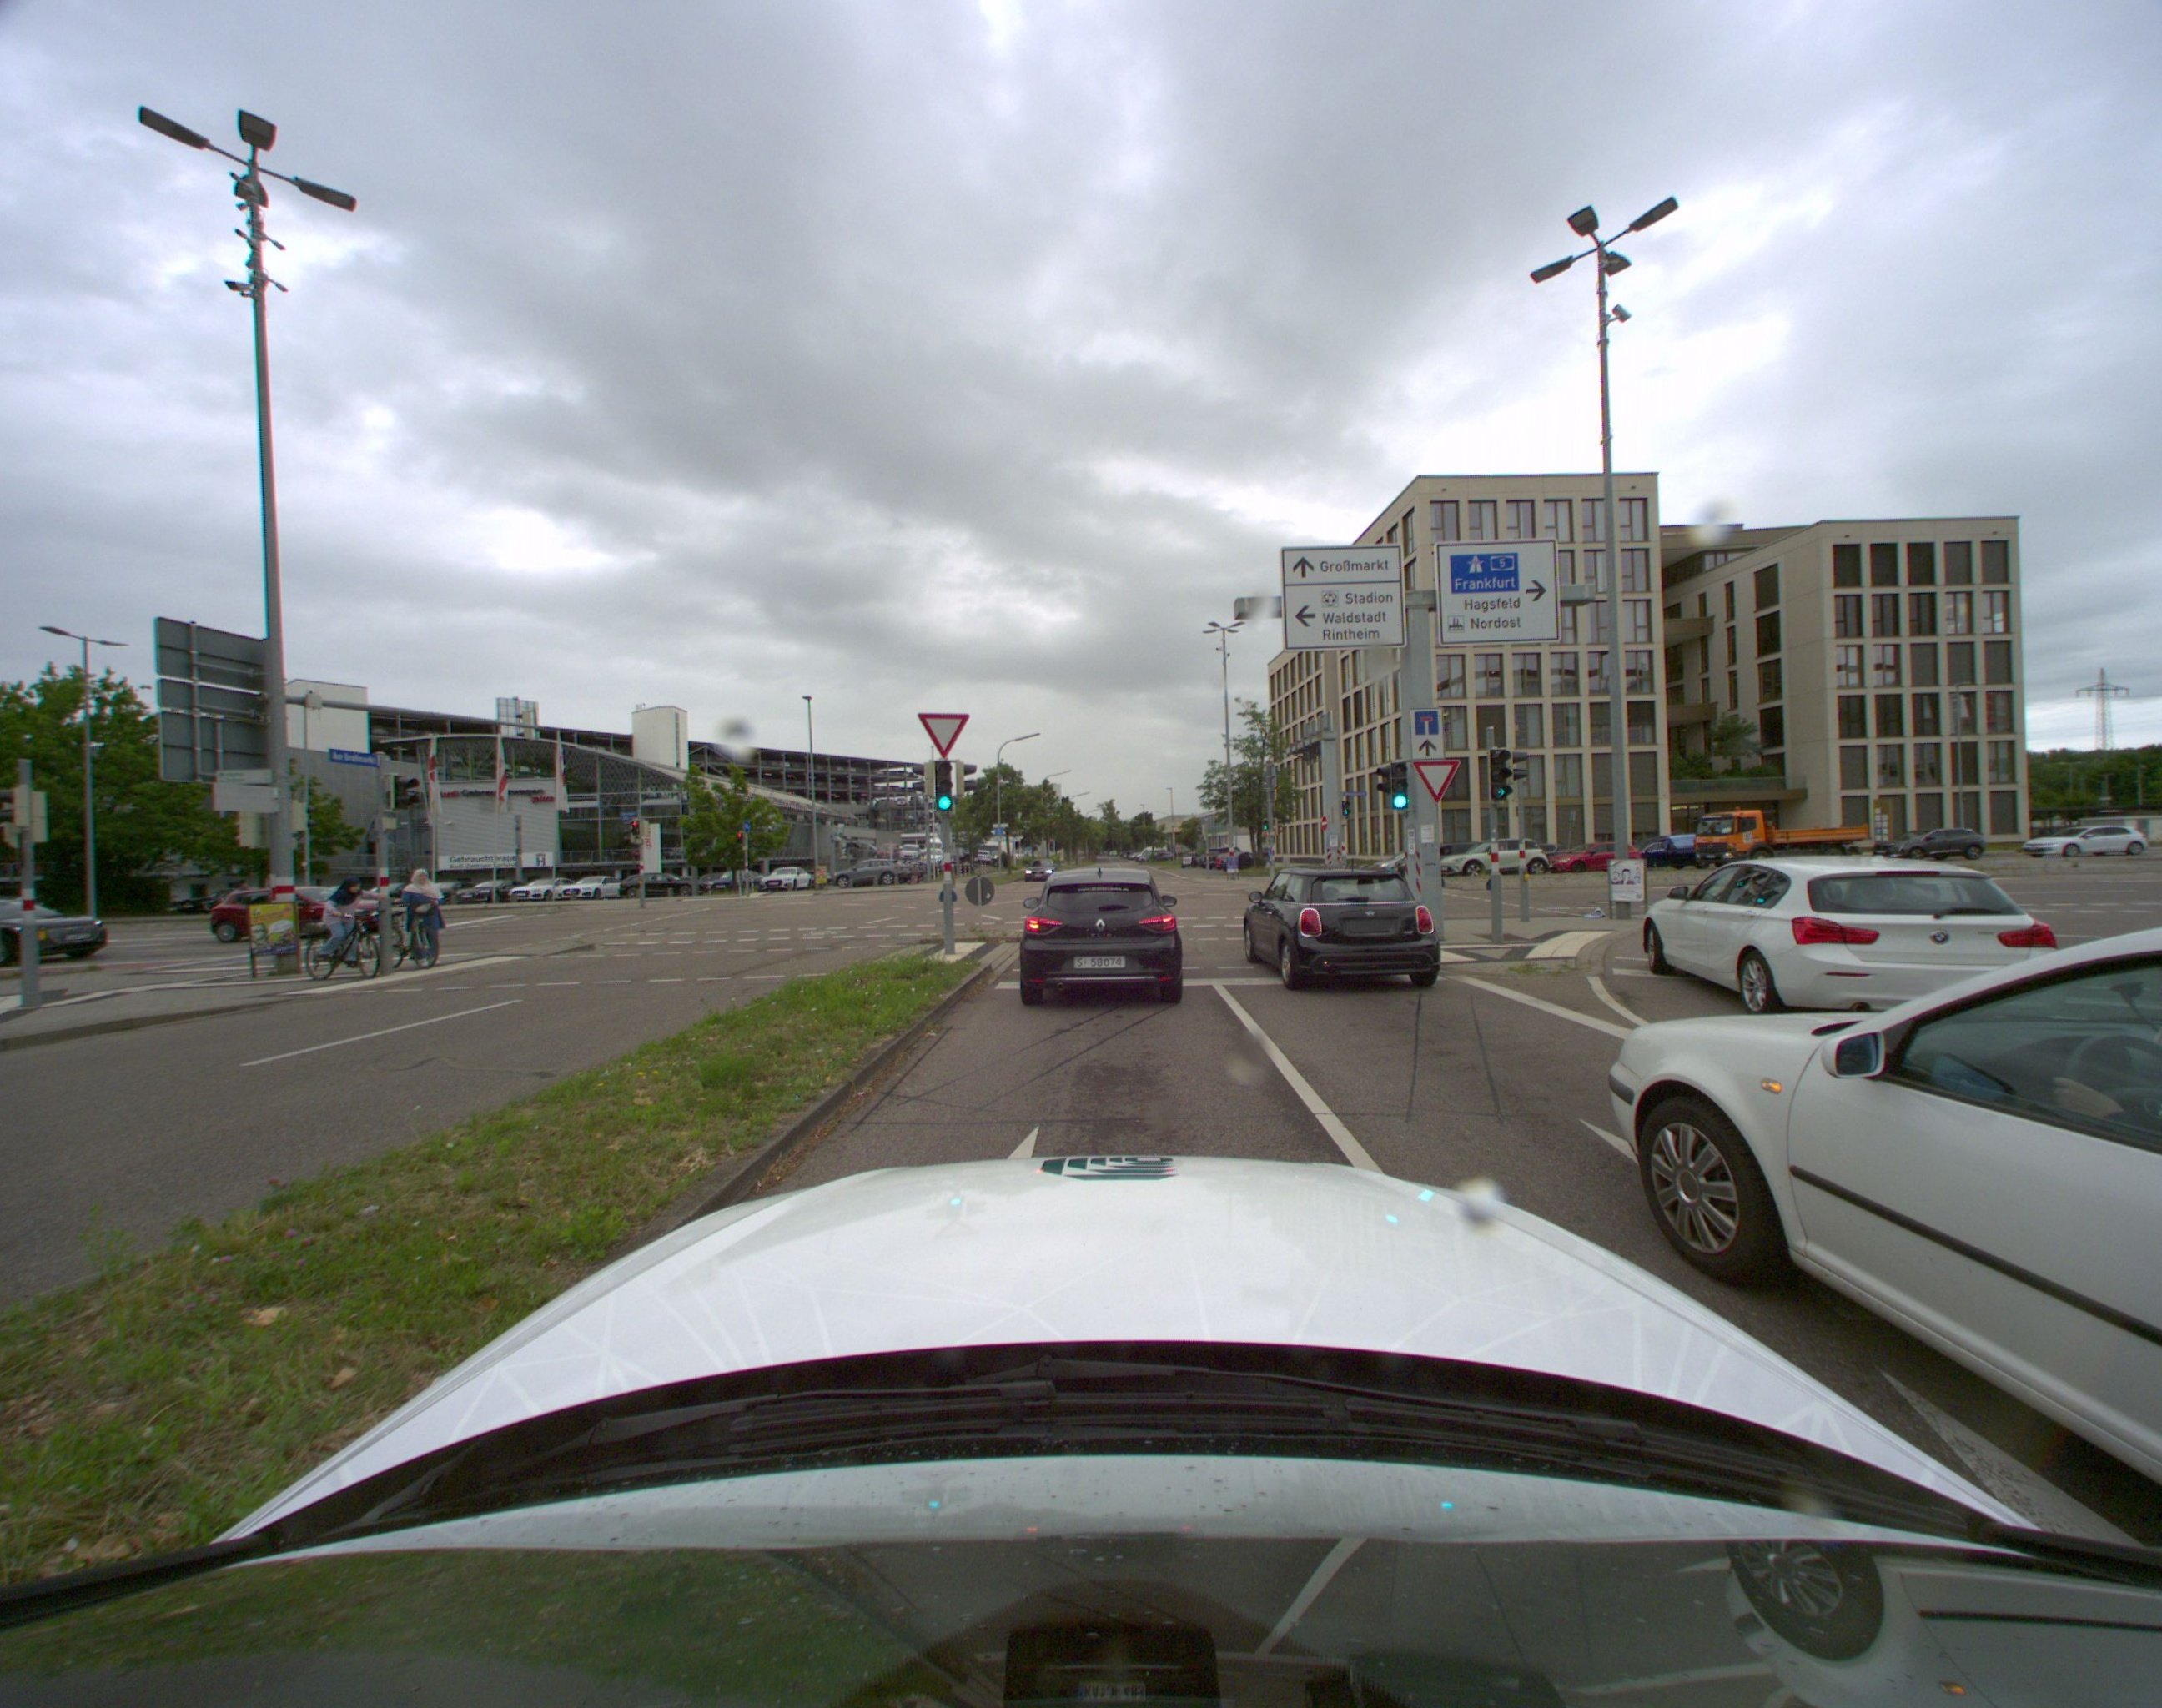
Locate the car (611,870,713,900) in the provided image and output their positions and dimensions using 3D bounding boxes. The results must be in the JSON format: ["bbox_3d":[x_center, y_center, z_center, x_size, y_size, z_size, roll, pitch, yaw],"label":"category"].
[{"bbox_3d":[-23.657,1.754,46.055,4.726,1.486,1.891,-2,-3,-2],"label":"car"}]

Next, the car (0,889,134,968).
[{"bbox_3d":[-26.656,1.870,19.955,4.311,1.636,1.884,-3,3,-4],"label":"car"}]

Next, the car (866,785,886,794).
[{"bbox_3d":[-43.562,-13.722,172.788,3.948,1.667,2.013,-1,0,34],"label":"car"}]

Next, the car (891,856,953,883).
[{"bbox_3d":[-13.613,1.309,69.856,4.882,2.013,1.998,-4,-1,-3],"label":"car"}]

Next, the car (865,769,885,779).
[{"bbox_3d":[-43.888,-17.049,173.182,3.948,1.667,2.013,-1,0,34],"label":"car"}]

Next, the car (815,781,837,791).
[{"bbox_3d":[-50.651,-13.504,161.820,3.948,1.667,2.013,-1,0,34],"label":"car"}]

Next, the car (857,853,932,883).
[{"bbox_3d":[-13.476,1.008,58.988,4.938,1.876,2.050,-4,-1,-5],"label":"car"}]

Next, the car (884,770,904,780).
[{"bbox_3d":[-40.797,-17.156,177.421,3.948,1.667,2.013,-1,0,34],"label":"car"}]

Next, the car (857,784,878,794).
[{"bbox_3d":[-44.772,-13.663,170.856,3.948,1.667,2.013,-1,0,34],"label":"car"}]

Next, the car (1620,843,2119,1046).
[{"bbox_3d":[7.016,0.669,7.968,1.814,1.410,4.216,-1,-1,18],"label":"car"}]

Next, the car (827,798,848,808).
[{"bbox_3d":[-49.074,-10.243,164.204,3.948,1.667,2.013,-1,0,34],"label":"car"}]

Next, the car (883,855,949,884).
[{"bbox_3d":[-13.500,1.257,66.857,4.882,2.013,1.998,-4,-1,-3],"label":"car"}]

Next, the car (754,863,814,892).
[{"bbox_3d":[-16.805,1.345,46.259,1.863,1.486,4.227,-3,-2,-1],"label":"car"}]

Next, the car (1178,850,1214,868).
[{"bbox_3d":[11.732,0.540,83.127,3.451,1.732,1.745,0,-1,-40],"label":"car"}]

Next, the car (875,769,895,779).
[{"bbox_3d":[-42.279,-17.185,175.350,3.948,1.667,2.013,-1,0,34],"label":"car"}]

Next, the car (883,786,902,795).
[{"bbox_3d":[-41.015,-13.885,177.207,3.948,1.667,2.013,-1,0,34],"label":"car"}]

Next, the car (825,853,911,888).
[{"bbox_3d":[-13.214,1.023,50.768,4.761,1.863,1.998,-4,-1,-3],"label":"car"}]

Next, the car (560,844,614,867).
[{"bbox_3d":[-37.614,0.144,62.086,1.815,1.662,3.995,0,-1,-3],"label":"car"}]

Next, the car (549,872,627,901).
[{"bbox_3d":[-27.454,1.832,45.520,1.841,1.486,4.196,-2,-3,-1],"label":"car"}]

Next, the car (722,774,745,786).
[{"bbox_3d":[-61.753,-13.169,144.706,3.948,1.667,2.013,-1,0,34],"label":"car"}]

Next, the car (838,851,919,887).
[{"bbox_3d":[-13.230,0.987,53.340,4.690,2.013,1.998,-4,-1,-3],"label":"car"}]

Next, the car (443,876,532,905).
[{"bbox_3d":[-32.765,2.044,45.104,1.860,1.486,4.229,-2,-3,-1],"label":"car"}]

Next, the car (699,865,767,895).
[{"bbox_3d":[-19.608,1.536,46.140,2.059,1.486,4.511,-3,-3,-3],"label":"car"}]

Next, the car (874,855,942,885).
[{"bbox_3d":[-13.601,1.246,64.301,4.882,2.013,1.998,-4,-1,-3],"label":"car"}]

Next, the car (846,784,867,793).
[{"bbox_3d":[-46.386,-13.531,168.487,3.948,1.667,2.013,-1,0,34],"label":"car"}]

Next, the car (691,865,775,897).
[{"bbox_3d":[-23.673,1.836,55.533,4.787,1.939,1.999,-2,0,-1],"label":"car"}]

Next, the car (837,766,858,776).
[{"bbox_3d":[-47.752,-16.929,166.373,3.948,1.667,2.013,-1,0,34],"label":"car"}]

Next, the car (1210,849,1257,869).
[{"bbox_3d":[13.128,0.430,70.165,4.157,1.551,1.865,-1,-1,-43],"label":"car"}]

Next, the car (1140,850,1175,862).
[{"bbox_3d":[11.494,0.341,122.728,5.158,1.720,2.143,0,-1,-1],"label":"car"}]

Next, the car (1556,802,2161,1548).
[{"bbox_3d":[3.056,0.633,1.757,1.825,1.478,4.006,0,-1,2],"label":"car"}]

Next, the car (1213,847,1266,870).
[{"bbox_3d":[12.806,0.351,65.783,4.153,1.768,1.867,-1,-1,-38],"label":"car"}]

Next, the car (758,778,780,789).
[{"bbox_3d":[-57.764,-13.099,150.782,3.948,1.667,2.013,-1,0,34],"label":"car"}]

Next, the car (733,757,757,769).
[{"bbox_3d":[-60.668,-16.463,146.996,3.948,1.667,2.013,-1,0,34],"label":"car"}]

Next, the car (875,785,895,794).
[{"bbox_3d":[-42.194,-13.828,175.279,3.948,1.667,2.013,-1,0,34],"label":"car"}]

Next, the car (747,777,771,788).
[{"bbox_3d":[-58.856,-13.119,148.820,3.948,1.667,2.013,-1,0,34],"label":"car"}]

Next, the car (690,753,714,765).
[{"bbox_3d":[-65.304,-16.332,140.276,3.948,1.667,2.013,-1,0,34],"label":"car"}]

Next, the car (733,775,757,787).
[{"bbox_3d":[-60.535,-13.143,146.709,3.948,1.667,2.013,-1,0,34],"label":"car"}]

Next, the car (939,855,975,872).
[{"bbox_3d":[-15.003,1.131,98.798,3.975,2.014,1.999,0,-1,-1],"label":"car"}]

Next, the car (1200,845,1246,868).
[{"bbox_3d":[12.816,0.199,73.380,1.975,1.965,4.270,-3,-1,43],"label":"car"}]

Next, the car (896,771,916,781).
[{"bbox_3d":[-38.812,-17.282,180.727,3.948,1.667,2.013,-1,0,34],"label":"car"}]

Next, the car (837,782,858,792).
[{"bbox_3d":[-47.692,-13.611,166.169,3.948,1.667,2.013,-1,0,34],"label":"car"}]

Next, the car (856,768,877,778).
[{"bbox_3d":[-45.118,-16.991,171.234,3.948,1.667,2.013,-1,0,34],"label":"car"}]

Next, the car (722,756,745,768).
[{"bbox_3d":[-61.798,-16.278,144.841,3.948,1.667,2.013,-1,0,34],"label":"car"}]

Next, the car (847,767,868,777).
[{"bbox_3d":[-46.301,-16.983,168.639,3.948,1.667,2.013,-1,0,34],"label":"car"}]

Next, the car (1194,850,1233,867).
[{"bbox_3d":[12.548,0.419,76.790,1.676,1.511,3.840,-3,-1,45],"label":"car"}]

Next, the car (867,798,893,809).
[{"bbox_3d":[-43.339,-10.857,175.746,5.263,1.945,2.225,-1,0,30],"label":"car"}]

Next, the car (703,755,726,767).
[{"bbox_3d":[-64.101,-16.303,142.422,3.948,1.667,2.013,-1,0,34],"label":"car"}]

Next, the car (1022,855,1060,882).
[{"bbox_3d":[-2.518,0.885,52.477,1.970,1.551,4.617,-2,0,3],"label":"car"}]

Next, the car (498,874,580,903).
[{"bbox_3d":[-30.018,1.939,45.241,1.865,1.486,4.041,-2,-3,-1],"label":"car"}]

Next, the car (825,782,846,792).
[{"bbox_3d":[-49.405,-13.508,163.642,3.948,1.667,2.013,-1,0,34],"label":"car"}]

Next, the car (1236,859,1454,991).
[{"bbox_3d":[3.197,0.798,10.637,1.779,1.416,3.645,0,-1,2],"label":"car"}]

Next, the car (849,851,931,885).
[{"bbox_3d":[-13.147,0.974,56.349,5.011,2.013,2.264,-4,-1,-3],"label":"car"}]
